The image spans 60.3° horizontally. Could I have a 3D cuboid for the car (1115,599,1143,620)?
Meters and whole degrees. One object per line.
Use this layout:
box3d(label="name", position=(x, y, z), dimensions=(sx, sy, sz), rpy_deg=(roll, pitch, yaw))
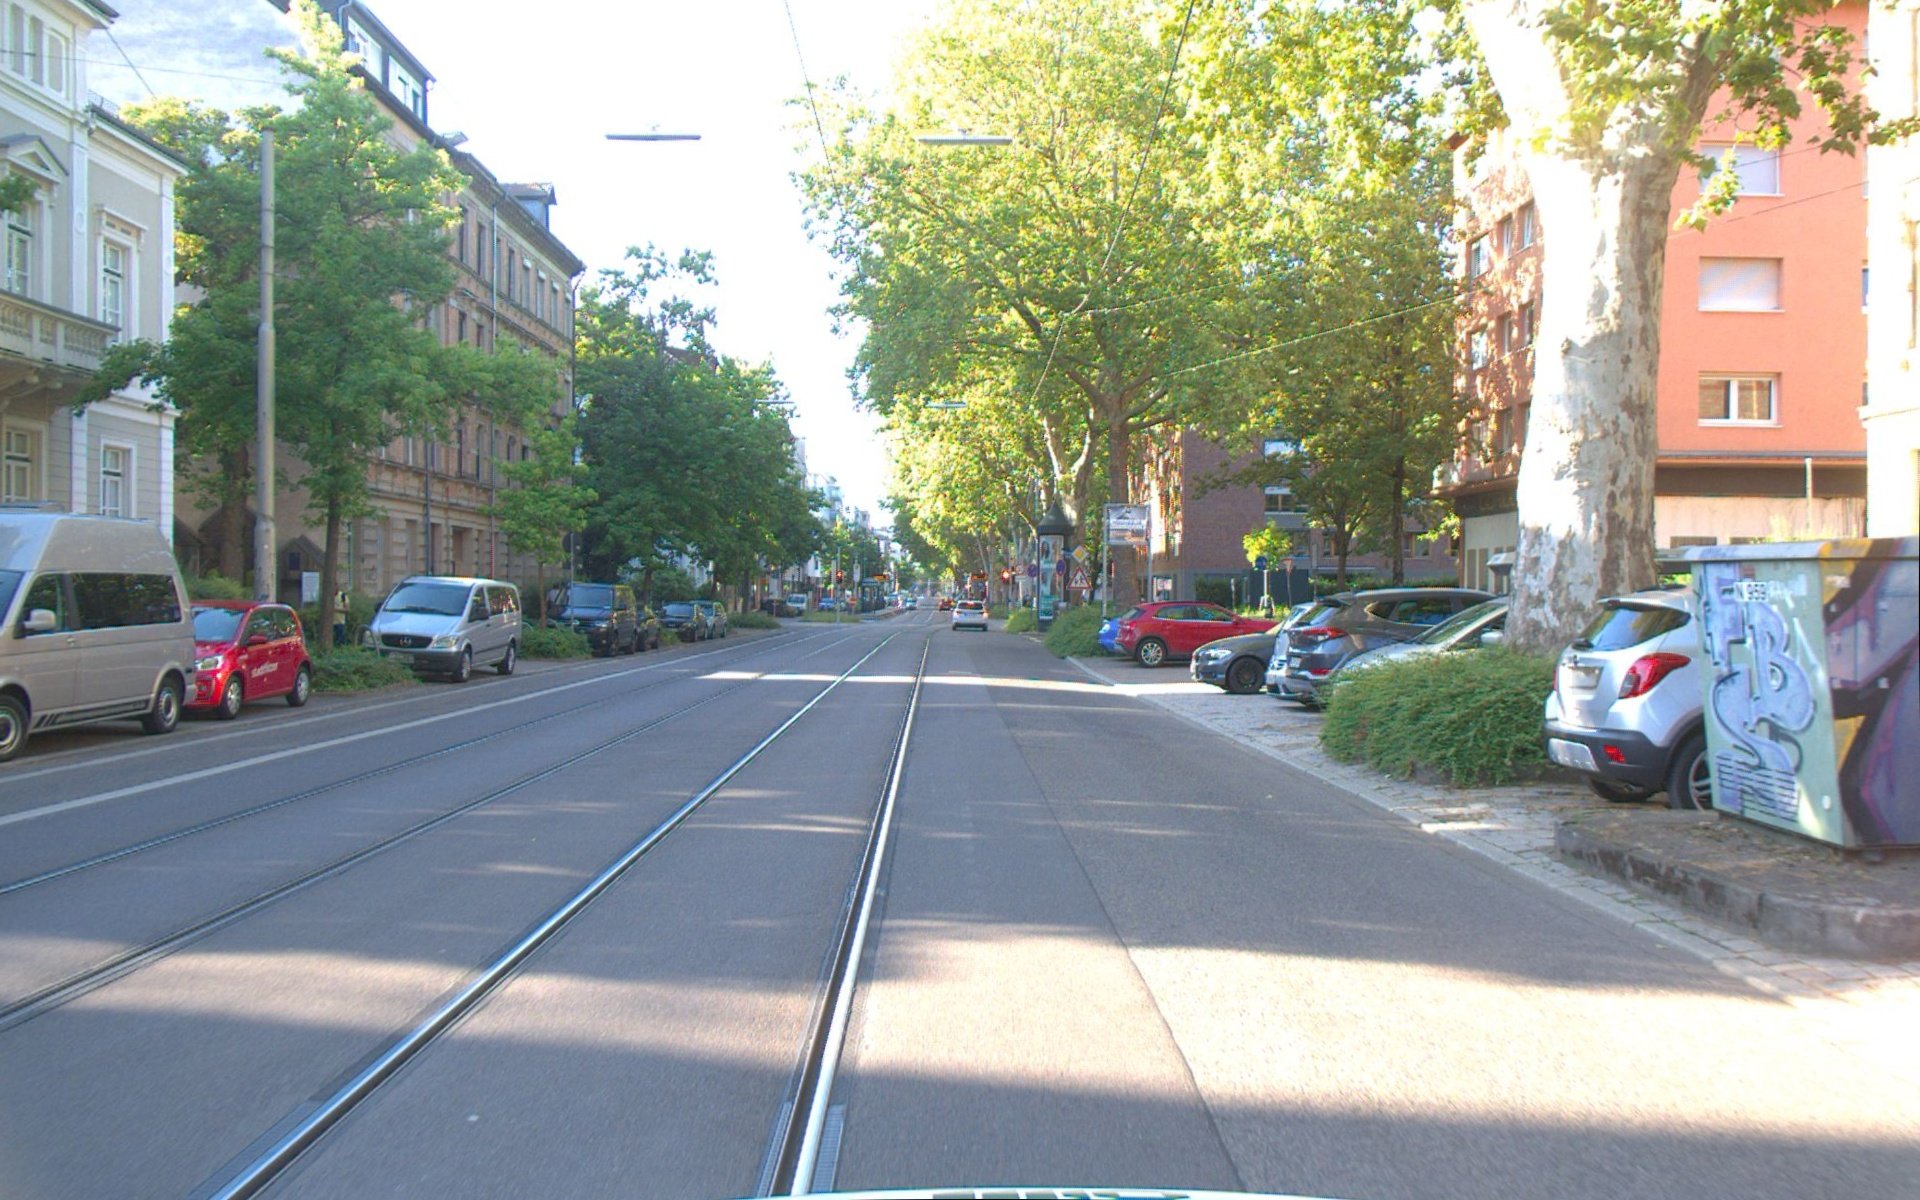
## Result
box3d(label="car", position=(12.324, 0.695, 120.759), dimensions=(1.568, 1.521, 3.415), rpy_deg=(0, 0, -2))

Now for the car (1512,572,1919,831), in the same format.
box3d(label="car", position=(6.152, 0.647, 11.928), dimensions=(3.706, 1.647, 1.789), rpy_deg=(-2, 0, -3))

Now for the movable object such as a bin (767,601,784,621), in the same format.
box3d(label="movable object such as a bin", position=(-13.299, 0.805, 119.140), dimensions=(1.147, 1.372, 0.782), rpy_deg=(4, -1, -5))

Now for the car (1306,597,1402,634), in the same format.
box3d(label="car", position=(16.056, 0.617, 67.515), dimensions=(3.467, 1.478, 1.683), rpy_deg=(0, 0, -3))

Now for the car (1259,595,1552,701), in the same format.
box3d(label="car", position=(6.884, 0.727, 25.881), dimensions=(4.113, 1.583, 1.818), rpy_deg=(0, 0, 1))

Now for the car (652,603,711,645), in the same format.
box3d(label="car", position=(-10.409, 0.881, 62.012), dimensions=(1.624, 1.470, 3.948), rpy_deg=(1, 0, -1))

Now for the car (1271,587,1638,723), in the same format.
box3d(label="car", position=(6.247, 0.671, 21.176), dimensions=(4.117, 1.647, 1.877), rpy_deg=(0, 0, -4))

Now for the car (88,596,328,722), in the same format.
box3d(label="car", position=(-10.109, 0.736, 22.542), dimensions=(1.651, 1.566, 3.706), rpy_deg=(0, 0, -1))

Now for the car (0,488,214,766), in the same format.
box3d(label="car", position=(-10.045, 0.249, 17.282), dimensions=(2.258, 2.552, 5.341), rpy_deg=(0, 0, -2))

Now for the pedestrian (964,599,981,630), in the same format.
box3d(label="pedestrian", position=(0.750, 0.851, 99.967), dimensions=(0.975, 1.843, 0.863), rpy_deg=(0, 0, -6))

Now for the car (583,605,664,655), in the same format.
box3d(label="car", position=(-10.474, 0.901, 51.749), dimensions=(1.815, 1.484, 4.268), rpy_deg=(0, 0, -2))

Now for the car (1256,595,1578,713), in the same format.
box3d(label="car", position=(6.416, 0.741, 23.578), dimensions=(4.113, 1.601, 1.818), rpy_deg=(0, 0, 1))

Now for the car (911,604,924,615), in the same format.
box3d(label="car", position=(-5.588, 1.219, 216.724), dimensions=(1.659, 1.444, 3.999), rpy_deg=(0, 0, -1))

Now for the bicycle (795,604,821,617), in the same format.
box3d(label="bicycle", position=(-13.534, 0.945, 147.395), dimensions=(2.207, 1.092, 0.636), rpy_deg=(3, 0, 0))

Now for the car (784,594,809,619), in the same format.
box3d(label="car", position=(-13.112, 0.523, 132.542), dimensions=(1.654, 1.974, 3.999), rpy_deg=(0, 0, -1))

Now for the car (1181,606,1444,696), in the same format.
box3d(label="car", position=(5.967, 0.851, 28.333), dimensions=(4.114, 1.473, 1.817), rpy_deg=(0, 0, -1))

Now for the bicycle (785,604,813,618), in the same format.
box3d(label="bicycle", position=(-13.609, 0.908, 139.990), dimensions=(2.207, 1.092, 0.636), rpy_deg=(3, 0, 0))

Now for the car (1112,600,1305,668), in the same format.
box3d(label="car", position=(5.824, 0.782, 39.163), dimensions=(4.312, 1.570, 1.952), rpy_deg=(0, 0, 1))

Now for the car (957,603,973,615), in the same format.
box3d(label="car", position=(0.660, 1.201, 218.903), dimensions=(1.953, 1.478, 3.999), rpy_deg=(0, 0, -1))

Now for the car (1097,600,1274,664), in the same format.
box3d(label="car", position=(5.611, 0.791, 41.443), dimensions=(4.310, 1.570, 1.819), rpy_deg=(0, 0, 6))

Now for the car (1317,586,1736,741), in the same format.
box3d(label="car", position=(6.255, 0.682, 18.623), dimensions=(4.113, 1.647, 1.818), rpy_deg=(0, 0, 1))

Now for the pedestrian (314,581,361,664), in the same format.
box3d(label="pedestrian", position=(-12.864, 0.462, 34.196), dimensions=(0.592, 1.691, 0.947), rpy_deg=(1, 0, 0))

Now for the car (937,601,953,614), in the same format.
box3d(label="car", position=(-1.766, 0.880, 191.364), dimensions=(1.752, 1.540, 3.999), rpy_deg=(0, 0, -1))

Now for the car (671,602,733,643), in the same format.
box3d(label="car", position=(-10.485, 0.881, 67.524), dimensions=(1.664, 1.577, 4.537), rpy_deg=(1, 0, 2))

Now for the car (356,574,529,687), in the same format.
box3d(label="car", position=(-9.963, 0.549, 32.274), dimensions=(1.806, 2.023, 4.988), rpy_deg=(0, 0, 0))

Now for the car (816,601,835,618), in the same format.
box3d(label="car", position=(-13.350, 0.921, 164.713), dimensions=(1.561, 1.575, 3.999), rpy_deg=(2, 0, -1))

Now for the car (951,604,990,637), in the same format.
box3d(label="car", position=(0.482, 0.987, 79.699), dimensions=(1.752, 1.540, 3.999), rpy_deg=(0, 0, -1))

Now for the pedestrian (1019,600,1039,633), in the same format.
box3d(label="pedestrian", position=(4.068, 0.959, 97.369), dimensions=(0.964, 1.896, 1.015), rpy_deg=(-3, 0, -6))

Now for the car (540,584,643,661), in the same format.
box3d(label="car", position=(-10.300, 0.598, 46.585), dimensions=(1.953, 2.049, 4.832), rpy_deg=(0, 0, -2))
